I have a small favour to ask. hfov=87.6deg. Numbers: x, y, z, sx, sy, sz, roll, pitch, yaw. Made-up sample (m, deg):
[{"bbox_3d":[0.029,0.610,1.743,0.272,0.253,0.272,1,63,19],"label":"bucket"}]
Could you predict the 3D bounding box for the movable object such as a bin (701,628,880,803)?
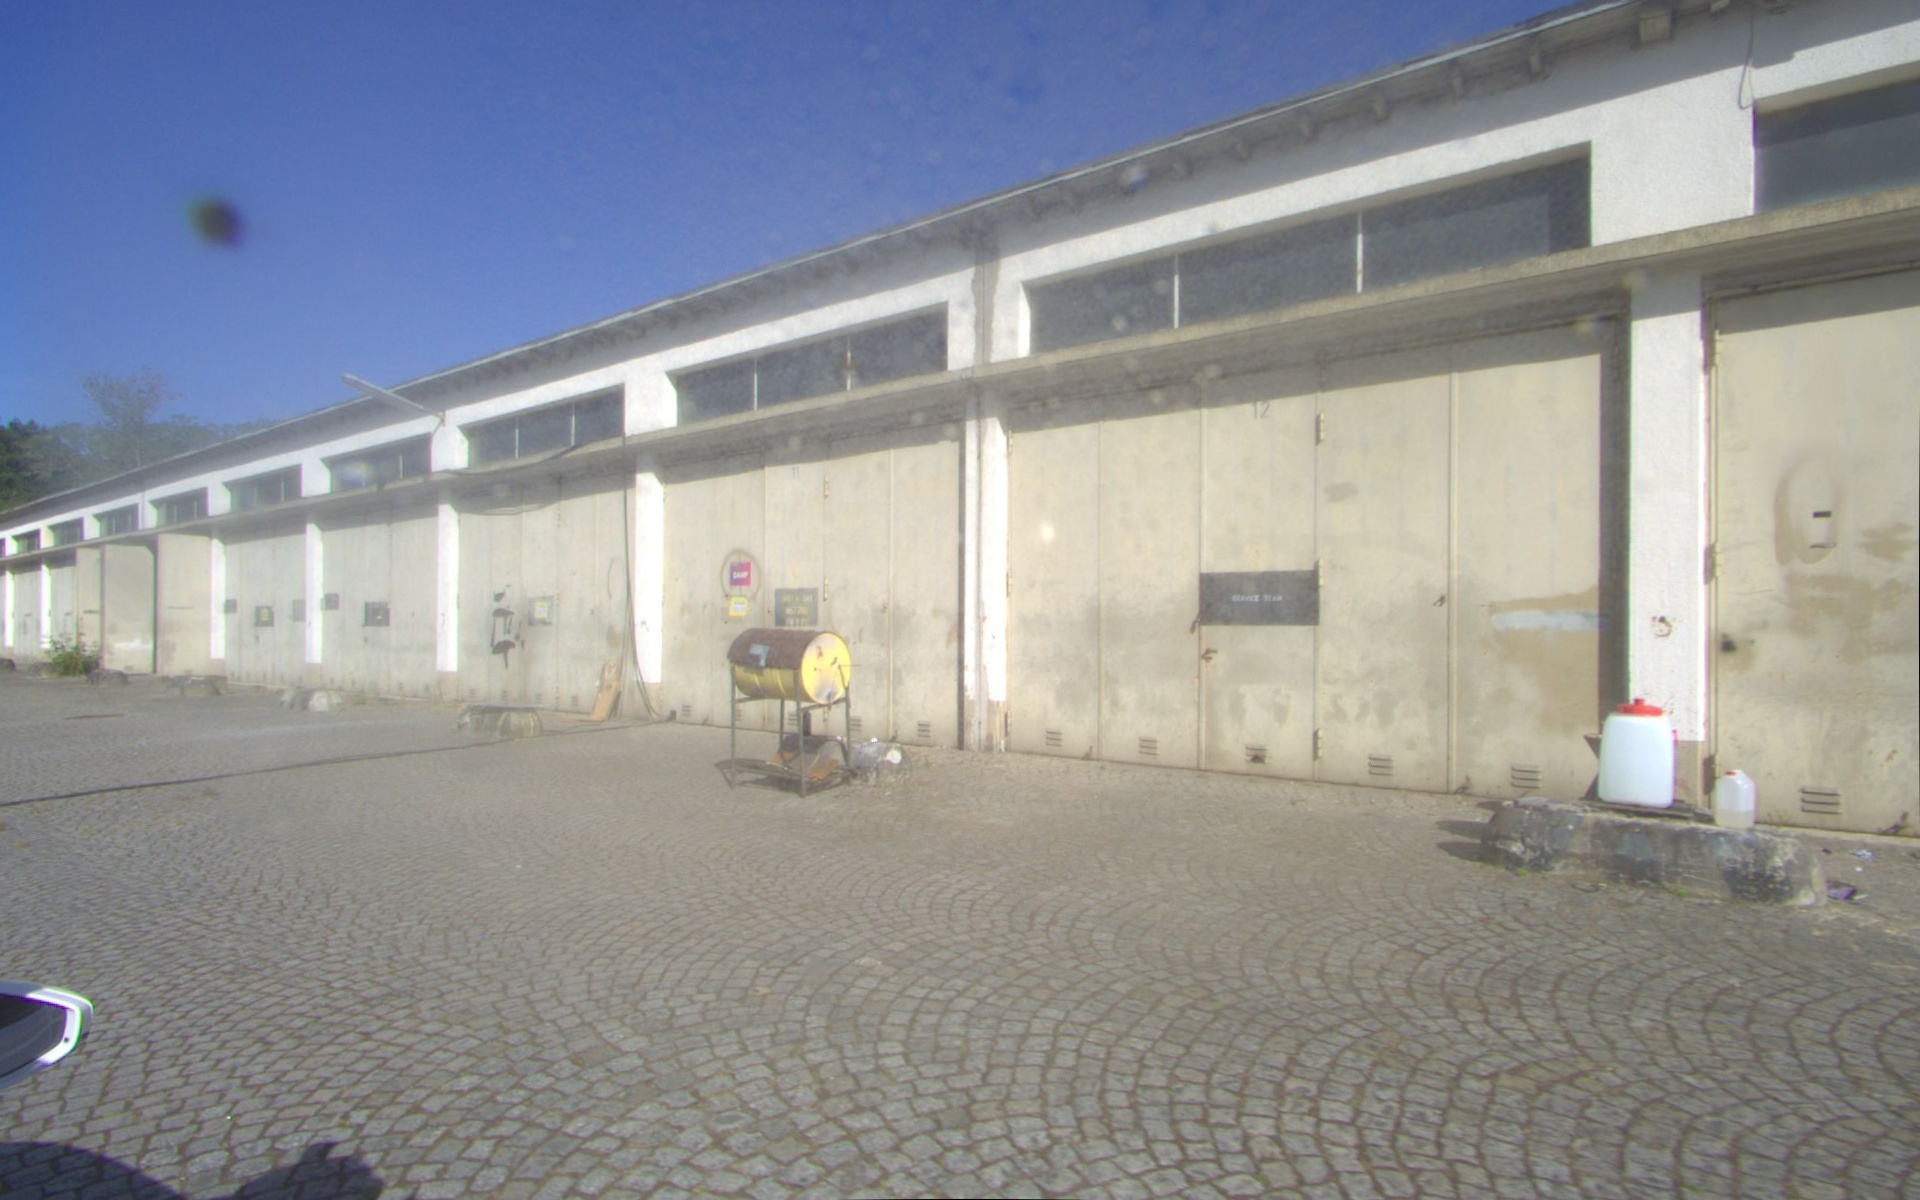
[{"bbox_3d":[-1.429,0.919,8.463,1.262,1.348,0.822,0,-2,32],"label":"movable object such as a bin"}]
